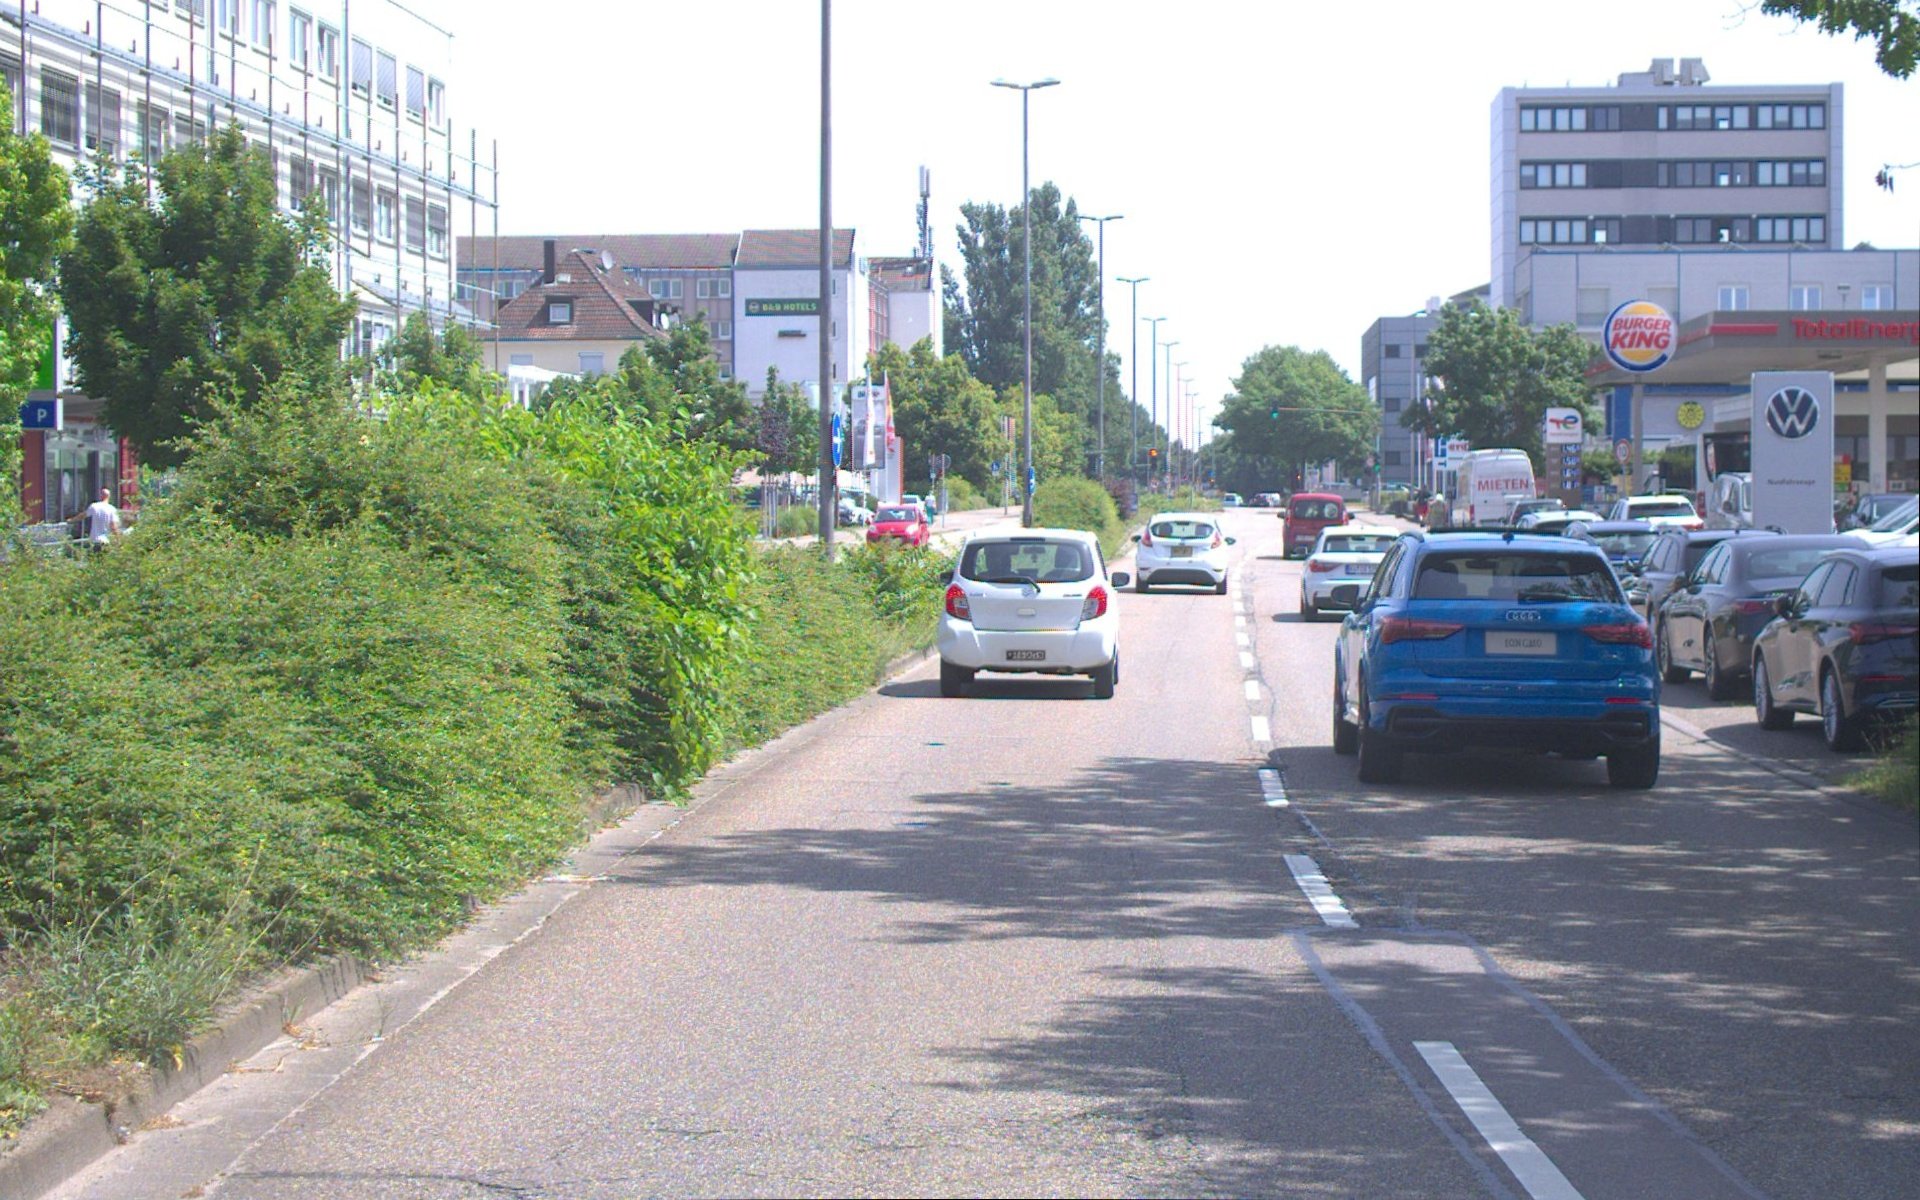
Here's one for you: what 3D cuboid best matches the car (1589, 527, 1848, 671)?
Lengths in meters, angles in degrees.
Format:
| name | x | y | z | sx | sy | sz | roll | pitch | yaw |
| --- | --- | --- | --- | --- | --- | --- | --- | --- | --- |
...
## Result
| name | x | y | z | sx | sy | sz | roll | pitch | yaw |
| --- | --- | --- | --- | --- | --- | --- | --- | --- | --- |
| car | 8.377 | -0.062 | 38.434 | 1.854 | 1.476 | 5.156 | 0 | 2 | 1 |

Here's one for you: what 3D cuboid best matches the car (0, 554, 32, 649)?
| name | x | y | z | sx | sy | sz | roll | pitch | yaw |
| --- | --- | --- | --- | --- | --- | --- | --- | --- | --- |
| car | -15.853 | 0.082 | 53.267 | 1.659 | 1.462 | 3.798 | -2 | 2 | 4 |

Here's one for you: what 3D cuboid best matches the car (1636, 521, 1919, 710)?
| name | x | y | z | sx | sy | sz | roll | pitch | yaw |
| --- | --- | --- | --- | --- | --- | --- | --- | --- | --- |
| car | 7.728 | 0.079 | 32.465 | 1.961 | 1.524 | 5.160 | -2 | 1 | 4 |

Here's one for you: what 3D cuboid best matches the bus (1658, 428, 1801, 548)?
| name | x | y | z | sx | sy | sz | roll | pitch | yaw |
| --- | --- | --- | --- | --- | --- | --- | --- | --- | --- |
| bus | 20.977 | -3.175 | 94.275 | 2.805 | 3.068 | 12.282 | 1 | 3 | 8 |

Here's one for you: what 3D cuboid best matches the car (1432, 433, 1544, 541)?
| name | x | y | z | sx | sy | sz | roll | pitch | yaw |
| --- | --- | --- | --- | --- | --- | --- | --- | --- | --- |
| car | 15.291 | -3.261 | 100.021 | 2.133 | 2.829 | 7.309 | -5 | 1 | 2 |

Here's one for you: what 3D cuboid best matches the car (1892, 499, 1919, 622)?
| name | x | y | z | sx | sy | sz | roll | pitch | yaw |
| --- | --- | --- | --- | --- | --- | --- | --- | --- | --- |
| car | 14.047 | -0.491 | 44.544 | 3.632 | 1.565 | 1.715 | 1 | 1 | 10 |

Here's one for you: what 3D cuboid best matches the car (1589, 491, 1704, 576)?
| name | x | y | z | sx | sy | sz | roll | pitch | yaw |
| --- | --- | --- | --- | --- | --- | --- | --- | --- | --- |
| car | 13.599 | -1.352 | 68.312 | 1.667 | 1.590 | 4.613 | -1 | 2 | 4 |

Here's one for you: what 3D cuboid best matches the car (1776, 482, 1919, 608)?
| name | x | y | z | sx | sy | sz | roll | pitch | yaw |
| --- | --- | --- | --- | --- | --- | --- | --- | --- | --- |
| car | 15.012 | -0.852 | 52.738 | 4.556 | 1.882 | 1.857 | -1 | 0 | 3 |

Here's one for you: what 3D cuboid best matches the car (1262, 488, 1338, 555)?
| name | x | y | z | sx | sy | sz | roll | pitch | yaw |
| --- | --- | --- | --- | --- | --- | --- | --- | --- | --- |
| car | 9.157 | -2.101 | 92.929 | 1.795 | 1.723 | 3.972 | 1 | 1 | 3 |

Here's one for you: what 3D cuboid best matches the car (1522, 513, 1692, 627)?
| name | x | y | z | sx | sy | sz | roll | pitch | yaw |
| --- | --- | --- | --- | --- | --- | --- | --- | --- | --- |
| car | 9.298 | -0.464 | 49.738 | 1.713 | 1.543 | 4.790 | -1 | 1 | 2 |

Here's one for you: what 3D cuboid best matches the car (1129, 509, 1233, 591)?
| name | x | y | z | sx | sy | sz | roll | pitch | yaw |
| --- | --- | --- | --- | --- | --- | --- | --- | --- | --- |
| car | 4.074 | -0.921 | 63.753 | 1.830 | 1.445 | 4.000 | 1 | 1 | 3 |

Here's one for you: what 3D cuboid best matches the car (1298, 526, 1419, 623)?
| name | x | y | z | sx | sy | sz | roll | pitch | yaw |
| --- | --- | --- | --- | --- | --- | --- | --- | --- | --- |
| car | 6.000 | -0.388 | 52.038 | 1.667 | 1.394 | 3.793 | 1 | 1 | 5 |

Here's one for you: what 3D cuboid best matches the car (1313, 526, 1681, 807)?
| name | x | y | z | sx | sy | sz | roll | pitch | yaw |
| --- | --- | --- | --- | --- | --- | --- | --- | --- | --- |
| car | 3.399 | 0.344 | 22.540 | 1.913 | 1.591 | 4.395 | 1 | 2 | 3 |

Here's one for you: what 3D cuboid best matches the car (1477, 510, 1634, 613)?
| name | x | y | z | sx | sy | sz | roll | pitch | yaw |
| --- | --- | --- | --- | --- | --- | --- | --- | --- | --- |
| car | 9.499 | -0.648 | 55.112 | 1.732 | 1.547 | 4.181 | 0 | 2 | -1 |

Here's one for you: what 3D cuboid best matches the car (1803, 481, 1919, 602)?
| name | x | y | z | sx | sy | sz | roll | pitch | yaw |
| --- | --- | --- | --- | --- | --- | --- | --- | --- | --- |
| car | 15.161 | -0.913 | 52.478 | 4.150 | 1.775 | 1.881 | -1 | 0 | 4 |

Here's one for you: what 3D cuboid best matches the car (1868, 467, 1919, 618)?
| name | x | y | z | sx | sy | sz | roll | pitch | yaw |
| --- | --- | --- | --- | --- | --- | --- | --- | --- | --- |
| car | 15.040 | -0.864 | 47.146 | 4.640 | 2.006 | 1.960 | -2 | 2 | 3 |

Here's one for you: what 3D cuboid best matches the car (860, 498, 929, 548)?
| name | x | y | z | sx | sy | sz | roll | pitch | yaw |
| --- | --- | --- | --- | --- | --- | --- | --- | --- | --- |
| car | -1.934 | -2.287 | 102.368 | 1.631 | 1.419 | 3.450 | -2 | 1 | 6 |

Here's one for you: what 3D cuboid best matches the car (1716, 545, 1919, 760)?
| name | x | y | z | sx | sy | sz | roll | pitch | yaw |
| --- | --- | --- | --- | --- | --- | --- | --- | --- | --- |
| car | 6.978 | 0.325 | 25.813 | 1.682 | 1.430 | 4.439 | -1 | 1 | 1 |

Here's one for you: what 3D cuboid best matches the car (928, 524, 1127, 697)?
| name | x | y | z | sx | sy | sz | roll | pitch | yaw |
| --- | --- | --- | --- | --- | --- | --- | --- | --- | --- |
| car | 0.585 | 0.095 | 32.255 | 1.712 | 1.505 | 3.247 | 1 | 0 | -1 |
